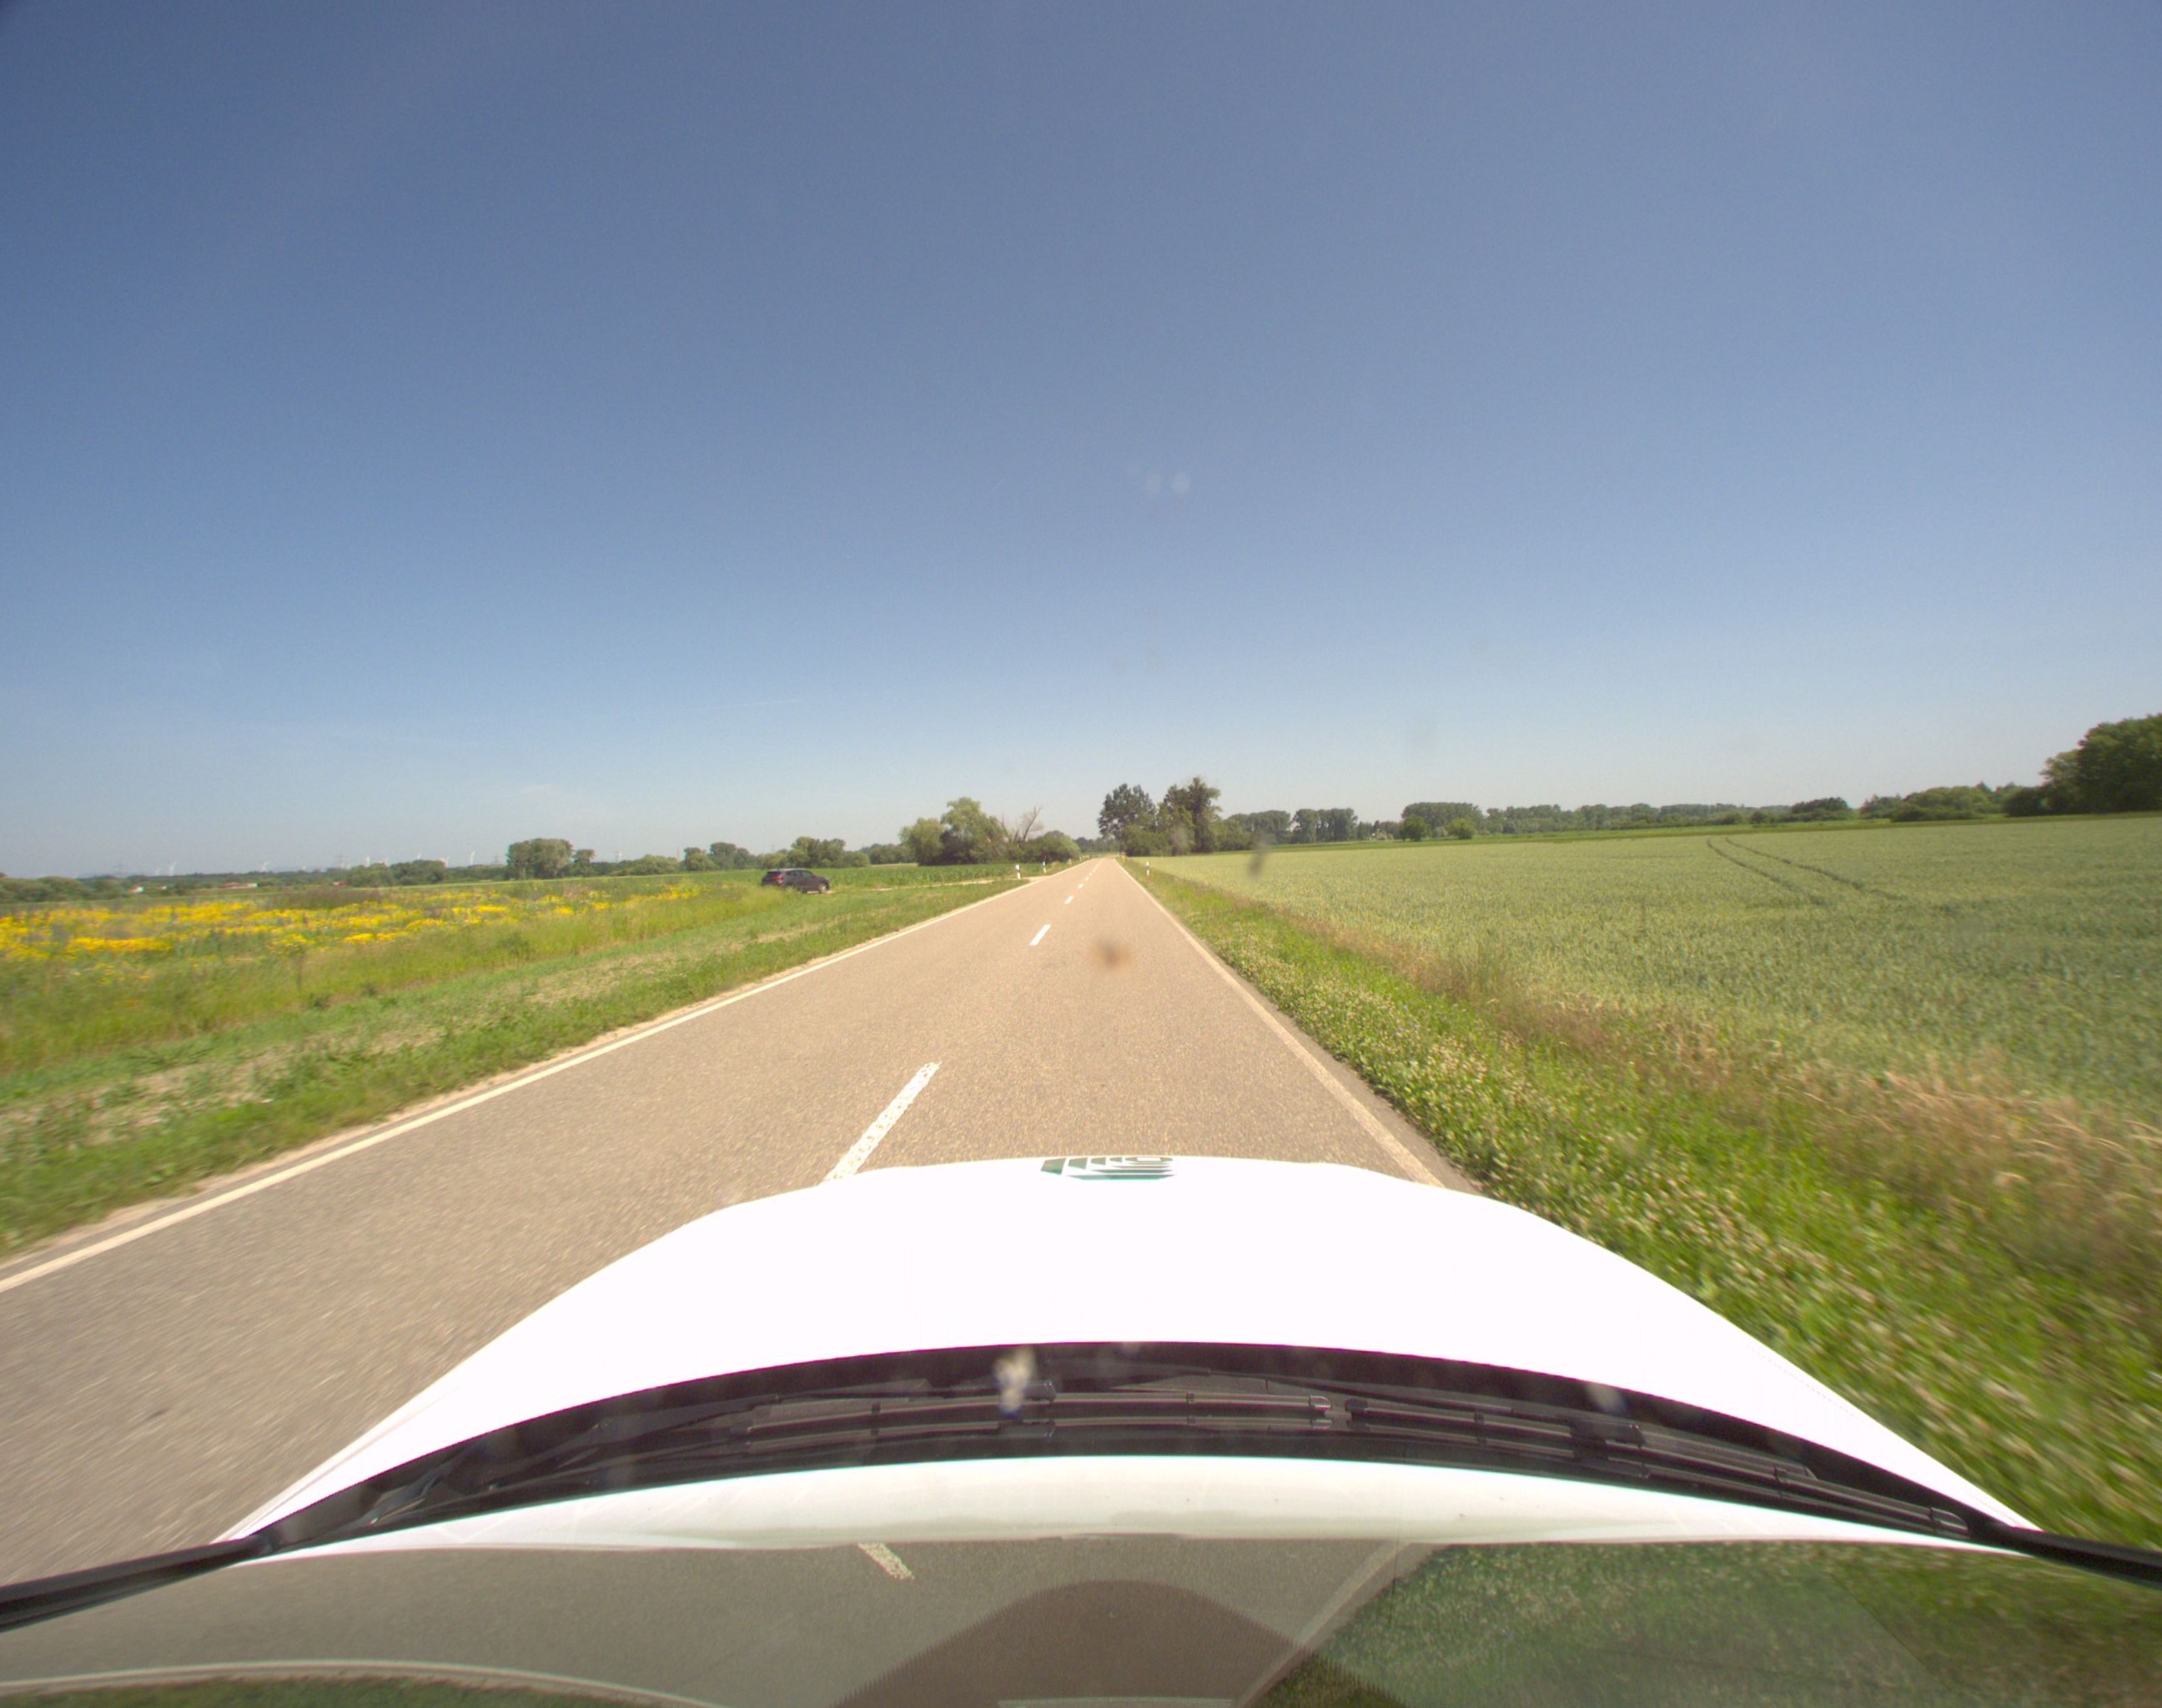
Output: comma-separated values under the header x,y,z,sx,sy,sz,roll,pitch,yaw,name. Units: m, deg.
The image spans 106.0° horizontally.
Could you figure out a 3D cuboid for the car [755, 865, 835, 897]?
x,y,z,sx,sy,sz,roll,pitch,yaw,name
-17.467,1.640,49.954,1.736,1.651,4.557,-3,0,27,car
